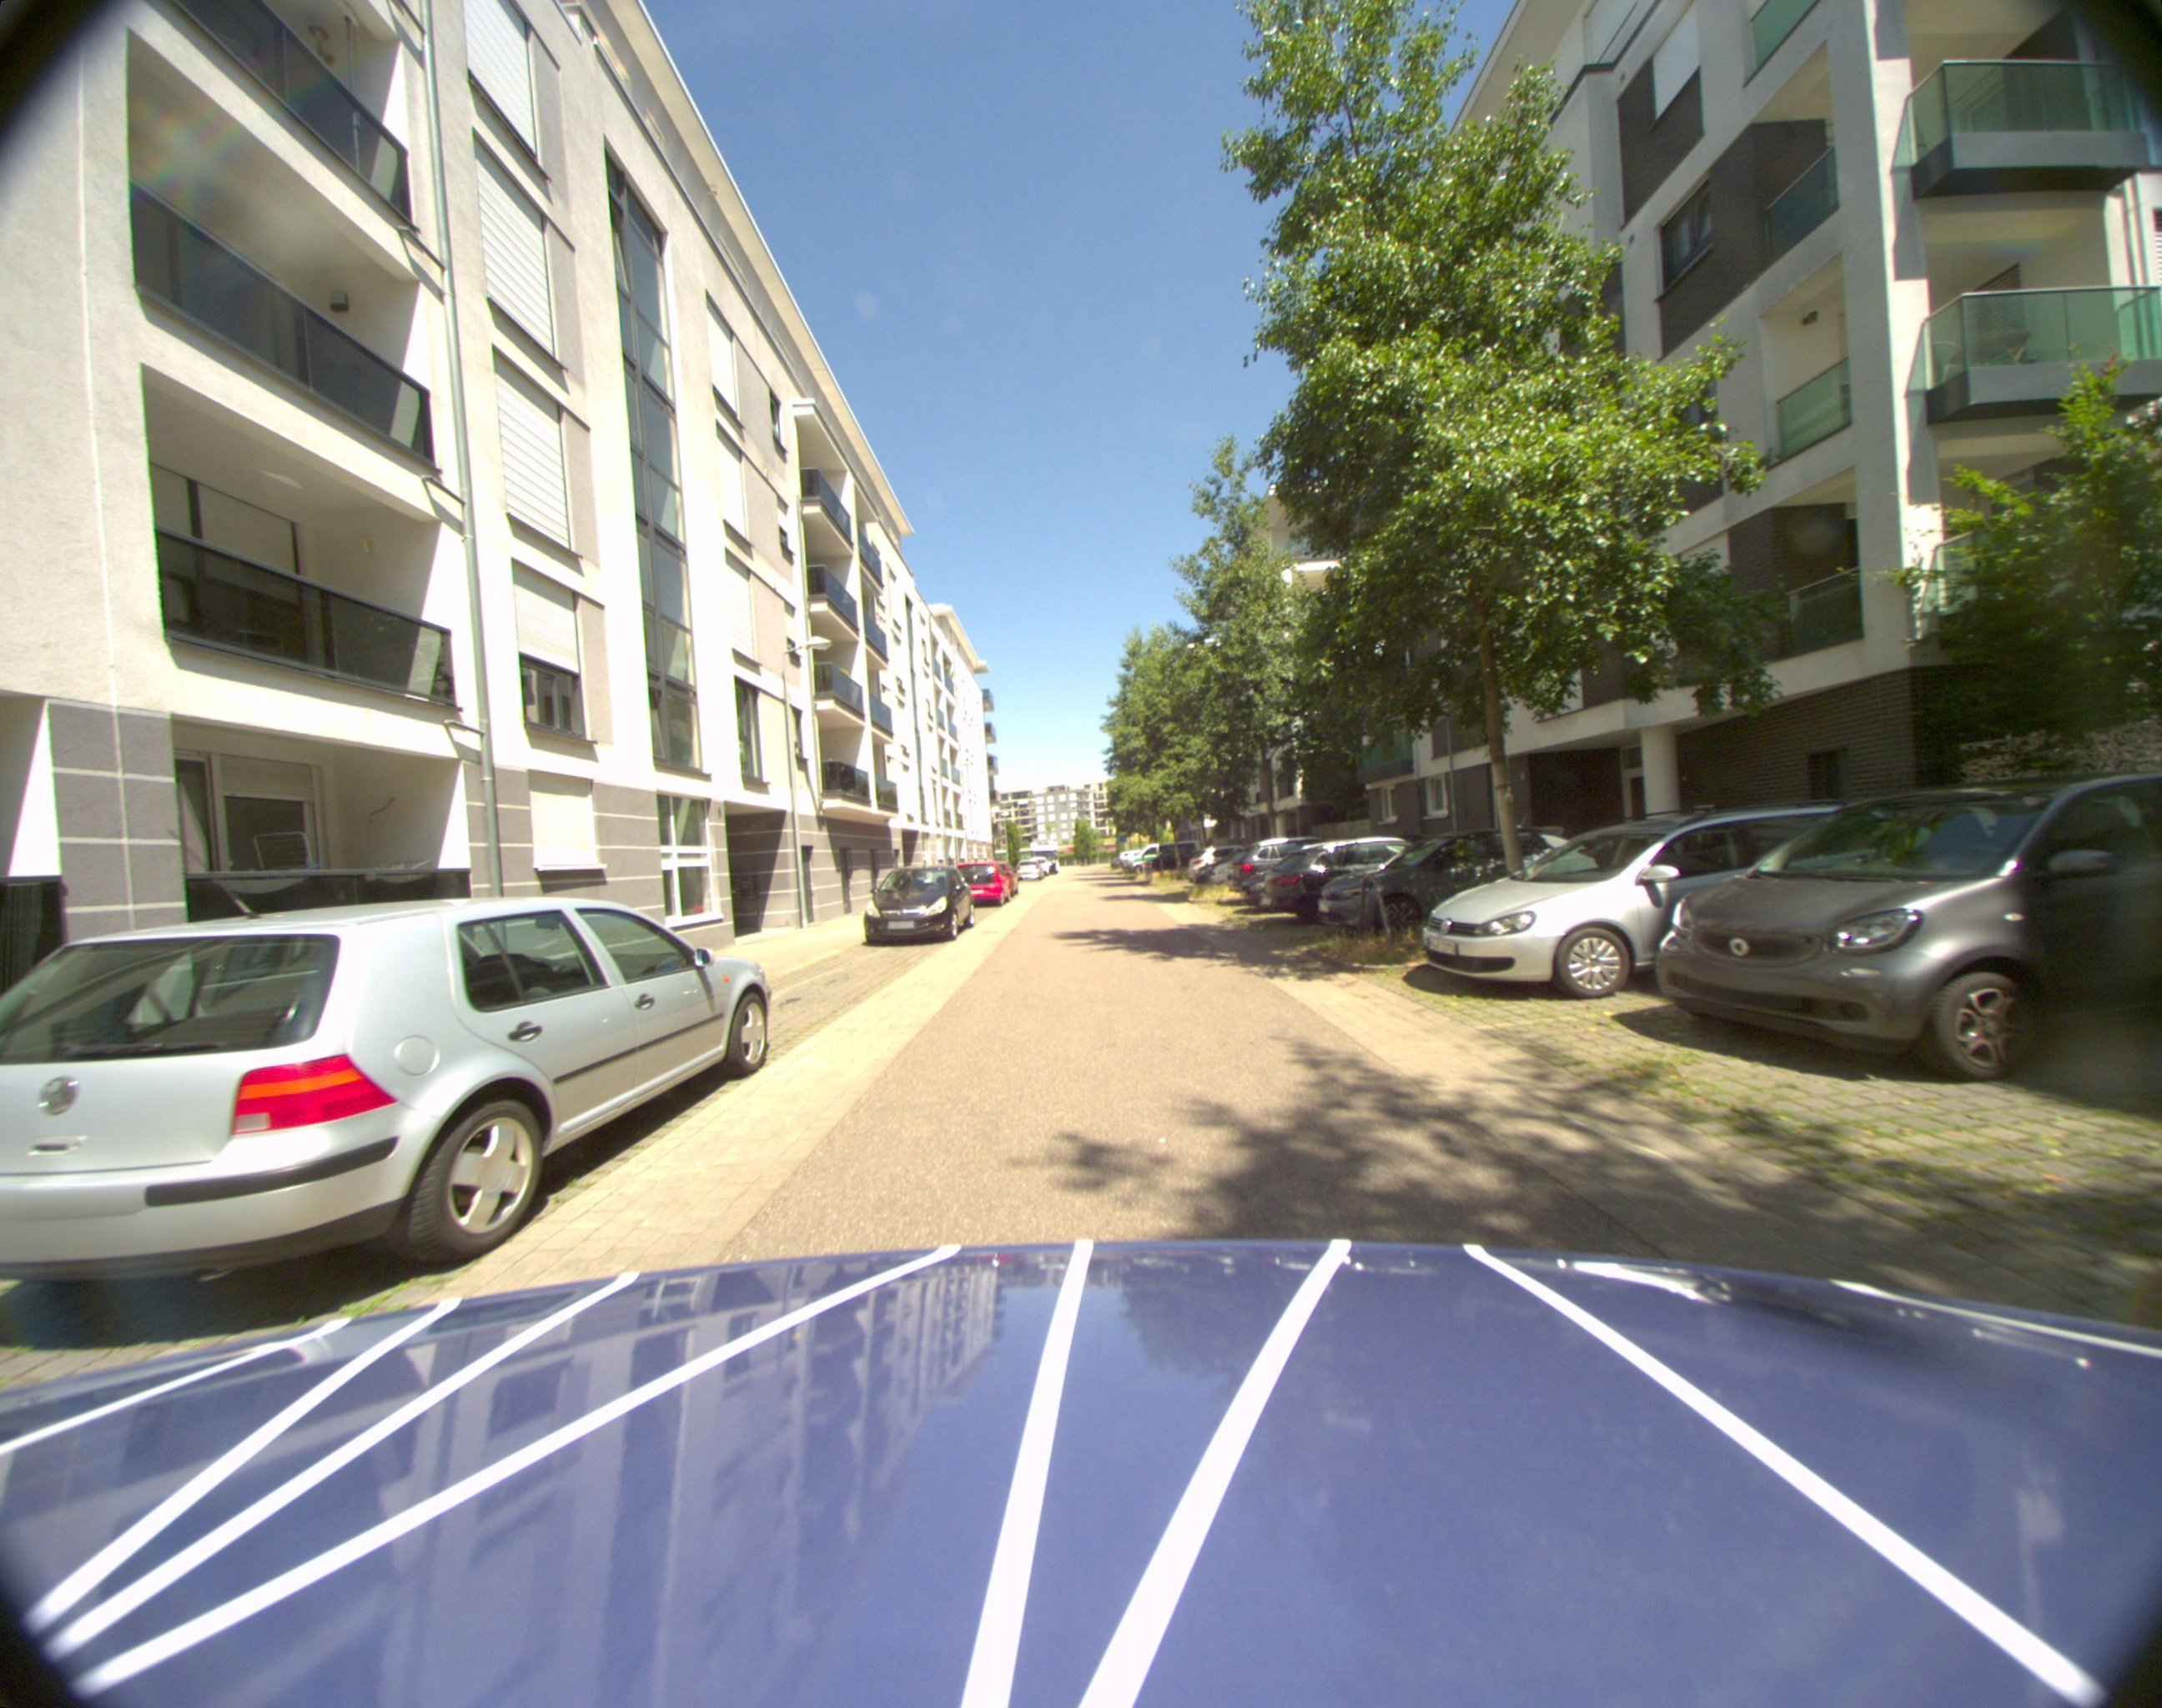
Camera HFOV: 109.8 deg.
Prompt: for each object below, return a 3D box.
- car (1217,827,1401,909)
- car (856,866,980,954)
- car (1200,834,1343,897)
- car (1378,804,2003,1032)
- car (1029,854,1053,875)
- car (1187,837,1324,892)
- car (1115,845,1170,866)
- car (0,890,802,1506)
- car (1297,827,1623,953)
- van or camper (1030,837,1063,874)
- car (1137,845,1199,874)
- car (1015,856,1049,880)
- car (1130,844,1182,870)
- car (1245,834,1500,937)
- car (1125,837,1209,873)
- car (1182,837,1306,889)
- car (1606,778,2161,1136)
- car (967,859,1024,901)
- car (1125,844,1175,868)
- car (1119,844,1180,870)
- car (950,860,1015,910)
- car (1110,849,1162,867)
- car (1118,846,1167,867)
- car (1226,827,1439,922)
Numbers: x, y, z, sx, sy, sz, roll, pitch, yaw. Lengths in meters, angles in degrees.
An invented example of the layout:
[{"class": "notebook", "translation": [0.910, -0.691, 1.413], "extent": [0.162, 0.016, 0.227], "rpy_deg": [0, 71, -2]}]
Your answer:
[{"class": "car", "translation": [5.701, 0.332, 19.401], "extent": [3.997, 1.620, 1.933], "rpy_deg": [-5, 0, 0]}, {"class": "car", "translation": [-3.204, 1.036, 15.700], "extent": [1.647, 1.454, 4.117], "rpy_deg": [-2, 0, 0]}, {"class": "car", "translation": [6.013, 0.339, 24.310], "extent": [3.997, 1.582, 1.884], "rpy_deg": [-5, 0, 1]}, {"class": "car", "translation": [5.421, 0.514, 7.218], "extent": [4.372, 1.700, 1.999], "rpy_deg": [-2, 0, -2]}, {"class": "car", "translation": [-3.202, 0.826, 61.187], "extent": [1.812, 1.496, 4.260], "rpy_deg": [-3, 0, -2]}, {"class": "car", "translation": [6.078, 0.363, 26.871], "extent": [4.327, 1.467, 1.792], "rpy_deg": [-5, 0, 0]}, {"class": "car", "translation": [5.940, 0.106, 73.970], "extent": [5.042, 1.623, 2.042], "rpy_deg": [-4, 0, -2]}, {"class": "car", "translation": [-3.341, 1.099, 4.313], "extent": [1.839, 1.496, 4.350], "rpy_deg": [-2, 0, 0]}, {"class": "car", "translation": [5.651, 0.517, 11.755], "extent": [3.997, 1.414, 1.897], "rpy_deg": [-6, 0, 1]}, {"class": "van or camper", "translation": [-2.996, 0.073, 67.464], "extent": [2.445, 2.889, 7.824], "rpy_deg": [-5, 1, -1]}, {"class": "car", "translation": [5.502, 0.328, 48.428], "extent": [3.632, 1.473, 1.678], "rpy_deg": [-5, 1, -1]}, {"class": "car", "translation": [-3.320, 0.922, 52.174], "extent": [1.850, 1.408, 4.425], "rpy_deg": [-4, 0, 1]}, {"class": "car", "translation": [5.748, 0.212, 58.756], "extent": [3.689, 1.666, 1.852], "rpy_deg": [-5, 1, 0]}, {"class": "car", "translation": [5.340, 0.546, 14.235], "extent": [3.985, 1.437, 1.775], "rpy_deg": [-5, 1, -4]}, {"class": "car", "translation": [5.704, 0.058, 51.215], "extent": [5.355, 2.098, 2.187], "rpy_deg": [-4, 1, 2]}, {"class": "car", "translation": [6.208, 0.319, 29.316], "extent": [4.263, 1.509, 1.924], "rpy_deg": [-6, 0, 0]}, {"class": "car", "translation": [5.811, 0.430, 4.800], "extent": [3.719, 1.577, 1.820], "rpy_deg": [-5, 1, -5]}, {"class": "car", "translation": [-3.421, 0.988, 31.005], "extent": [1.742, 1.478, 4.258], "rpy_deg": [-3, 0, 0]}, {"class": "car", "translation": [5.788, 0.181, 64.026], "extent": [3.990, 1.620, 1.950], "rpy_deg": [-5, 1, 2]}, {"class": "car", "translation": [5.507, 0.252, 61.395], "extent": [4.571, 1.585, 1.965], "rpy_deg": [-6, 1, -5]}, {"class": "car", "translation": [-3.225, 0.978, 25.469], "extent": [1.599, 1.477, 3.675], "rpy_deg": [-2, 0, 0]}, {"class": "car", "translation": [5.722, 0.385, 79.034], "extent": [5.112, 1.476, 1.927], "rpy_deg": [-4, 1, -2]}, {"class": "car", "translation": [5.761, 0.201, 71.252], "extent": [4.263, 1.522, 1.822], "rpy_deg": [-6, 0, -3]}, {"class": "car", "translation": [5.450, 0.424, 16.877], "extent": [3.996, 1.641, 1.918], "rpy_deg": [-5, 0, 2]}]
